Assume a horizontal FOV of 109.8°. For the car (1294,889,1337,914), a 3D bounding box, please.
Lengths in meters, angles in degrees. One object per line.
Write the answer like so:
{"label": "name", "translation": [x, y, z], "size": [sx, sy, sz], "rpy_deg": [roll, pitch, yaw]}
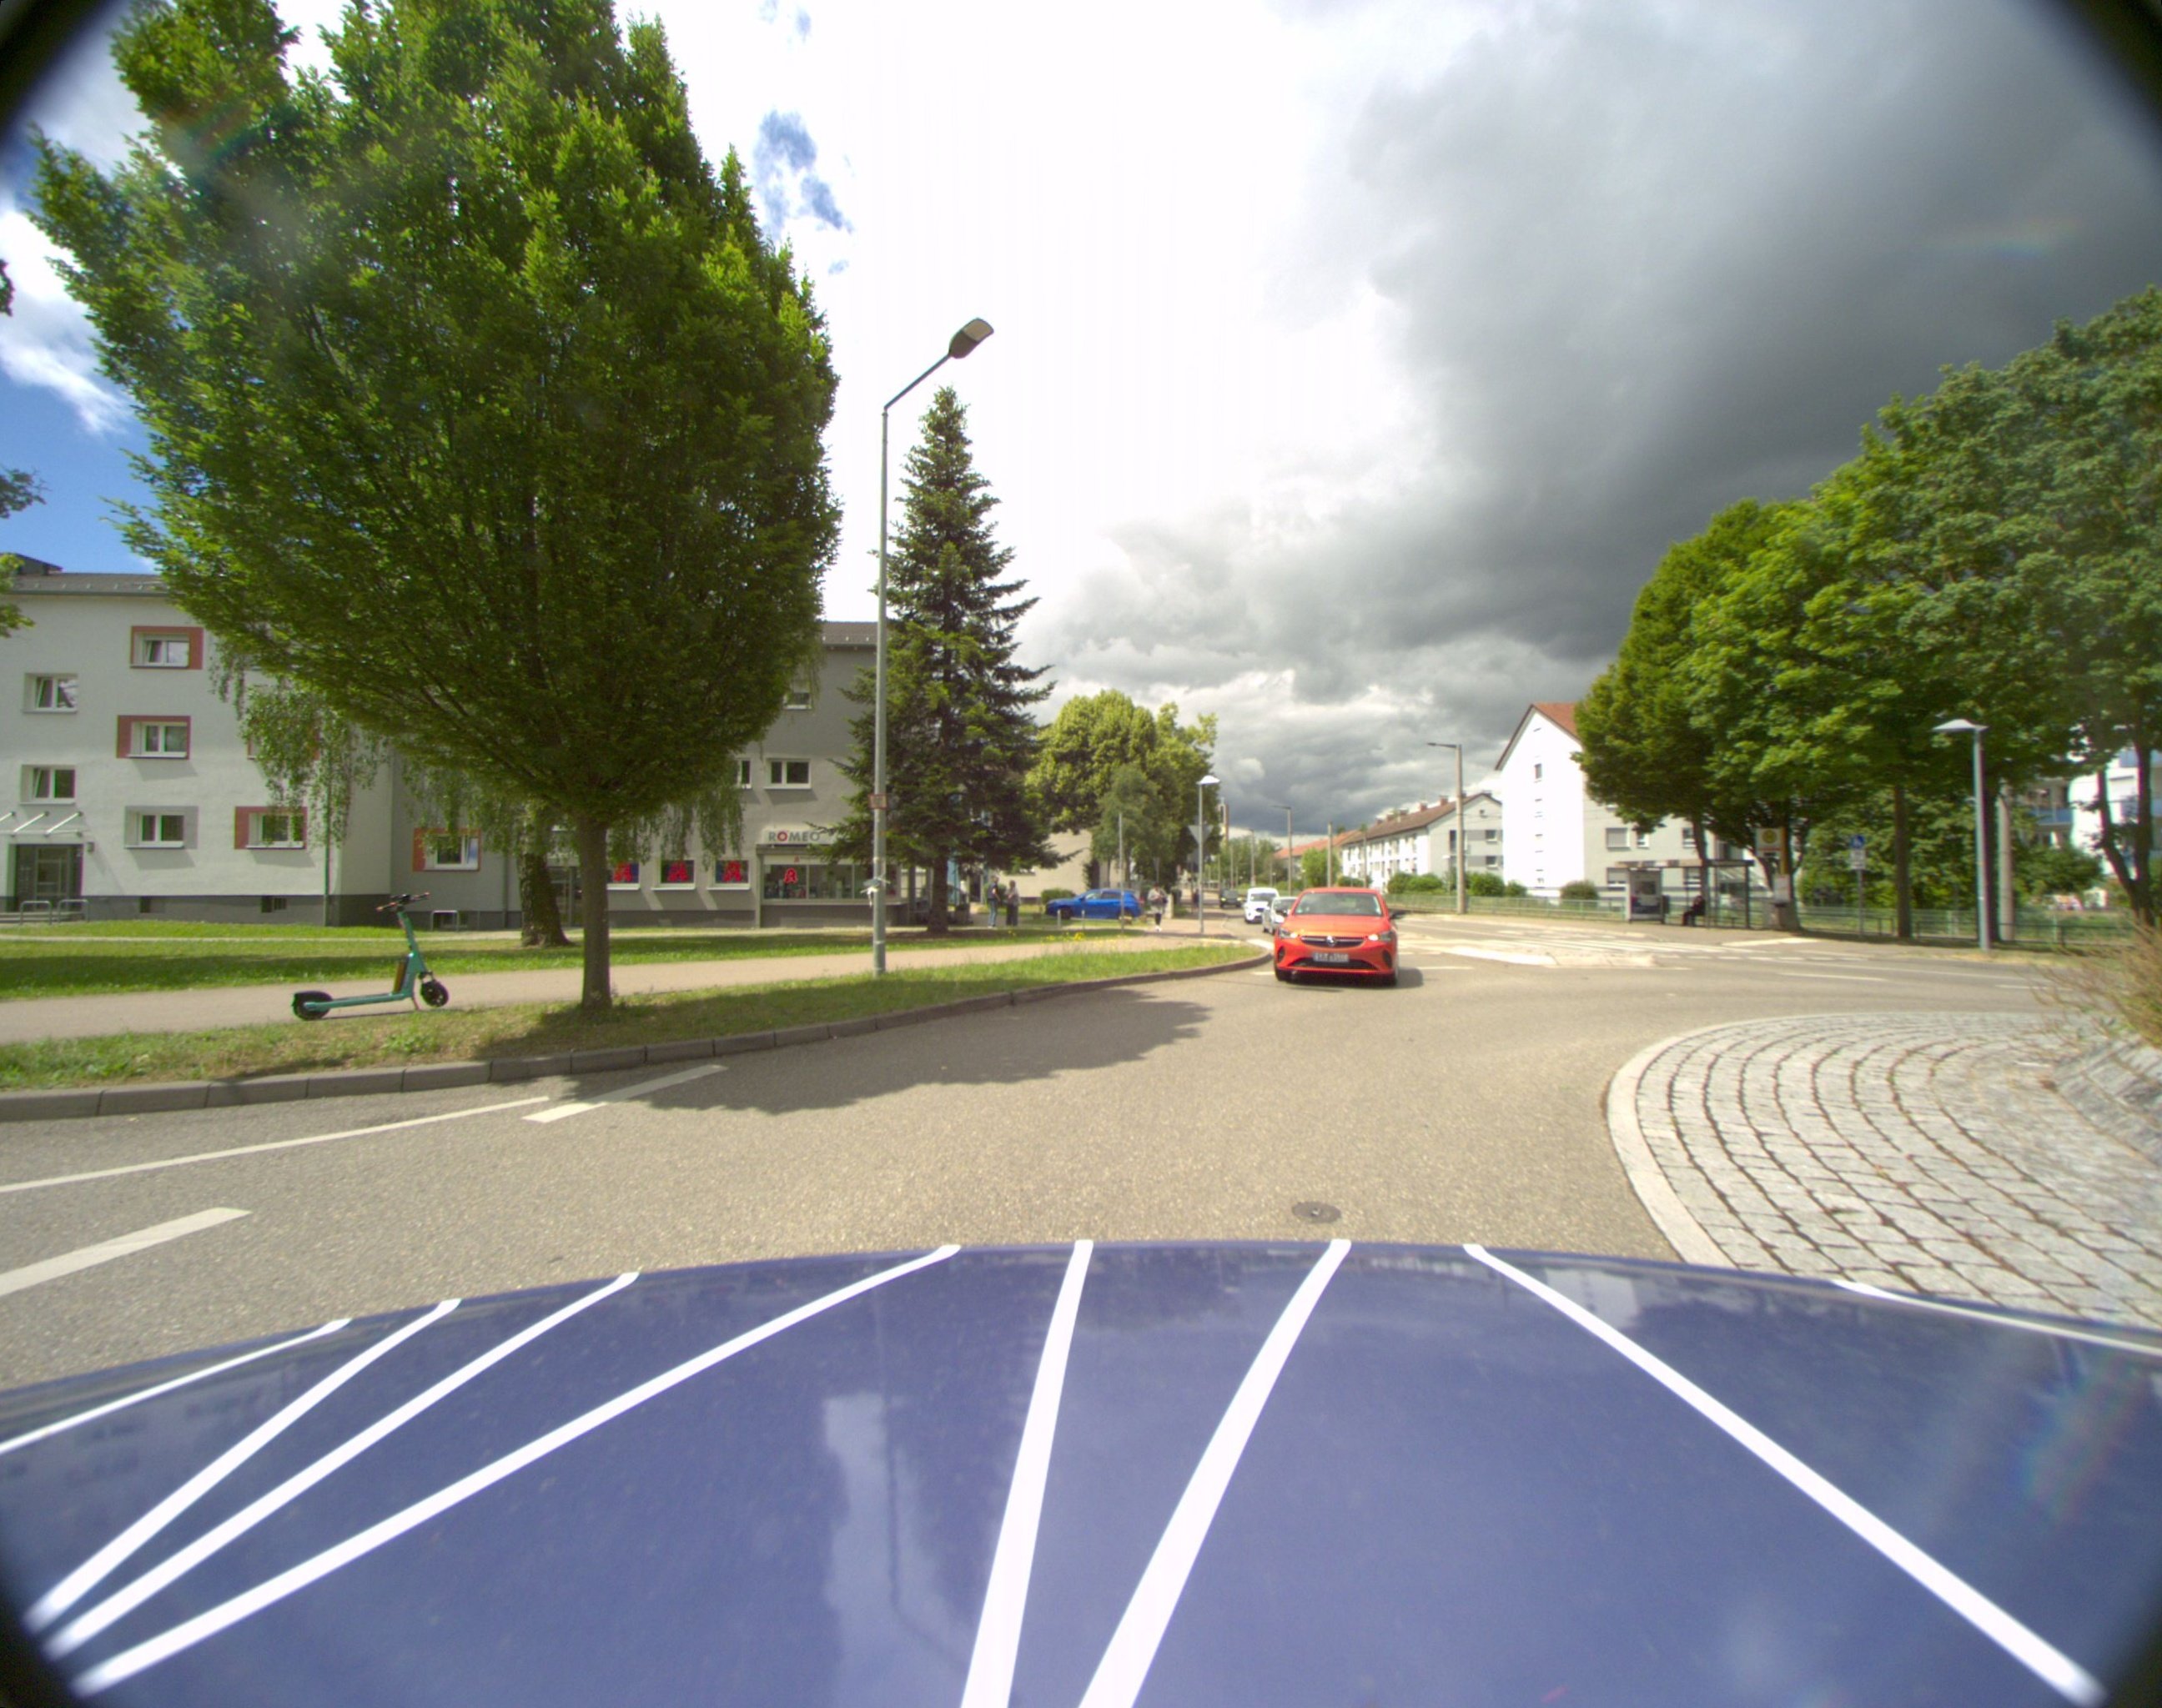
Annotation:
{"label": "car", "translation": [14.942, 2.993, 48.661], "size": [1.857, 1.446, 4.392], "rpy_deg": [-2, -2, 7]}

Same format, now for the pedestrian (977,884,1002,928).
{"label": "pedestrian", "translation": [-3.219, 1.818, 26.804], "size": [0.743, 1.520, 0.691], "rpy_deg": [1, -1, 1]}

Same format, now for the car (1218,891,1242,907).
{"label": "car", "translation": [13.090, 3.920, 66.534], "size": [1.916, 1.309, 4.005], "rpy_deg": [0, -2, 13]}

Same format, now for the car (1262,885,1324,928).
{"label": "car", "translation": [7.650, 1.854, 27.743], "size": [1.762, 1.389, 4.004], "rpy_deg": [0, -2, 10]}

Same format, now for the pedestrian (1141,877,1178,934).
{"label": "pedestrian", "translation": [2.731, 1.766, 26.469], "size": [0.944, 1.944, 0.840], "rpy_deg": [2, -2, -37]}

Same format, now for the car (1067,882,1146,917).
{"label": "car", "translation": [1.211, 2.238, 37.846], "size": [3.739, 1.547, 2.032], "rpy_deg": [3, -2, -2]}

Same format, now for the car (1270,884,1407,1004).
{"label": "car", "translation": [4.115, 1.280, 12.300], "size": [1.763, 1.548, 4.007], "rpy_deg": [0, -2, 18]}

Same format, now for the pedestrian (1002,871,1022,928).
{"label": "pedestrian", "translation": [-2.461, 1.630, 27.260], "size": [0.655, 2.001, 1.047], "rpy_deg": [1, -1, -3]}

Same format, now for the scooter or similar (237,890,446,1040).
{"label": "scooter or similar", "translation": [-7.199, 1.036, 7.472], "size": [1.392, 1.334, 0.485], "rpy_deg": [3, -2, -43]}

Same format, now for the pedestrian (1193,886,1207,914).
{"label": "pedestrian", "translation": [7.382, 2.844, 47.143], "size": [0.684, 1.650, 0.832], "rpy_deg": [1, -1, 0]}

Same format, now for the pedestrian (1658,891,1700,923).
{"label": "pedestrian", "translation": [22.095, 1.939, 28.078], "size": [0.800, 1.128, 0.912], "rpy_deg": [-1, -2, 2]}

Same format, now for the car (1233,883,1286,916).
{"label": "car", "translation": [9.151, 2.301, 39.224], "size": [1.998, 1.597, 4.002], "rpy_deg": [0, -2, 4]}

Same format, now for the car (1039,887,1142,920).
{"label": "car", "translation": [0.381, 2.245, 34.561], "size": [4.495, 1.236, 2.000], "rpy_deg": [3, -2, -4]}
